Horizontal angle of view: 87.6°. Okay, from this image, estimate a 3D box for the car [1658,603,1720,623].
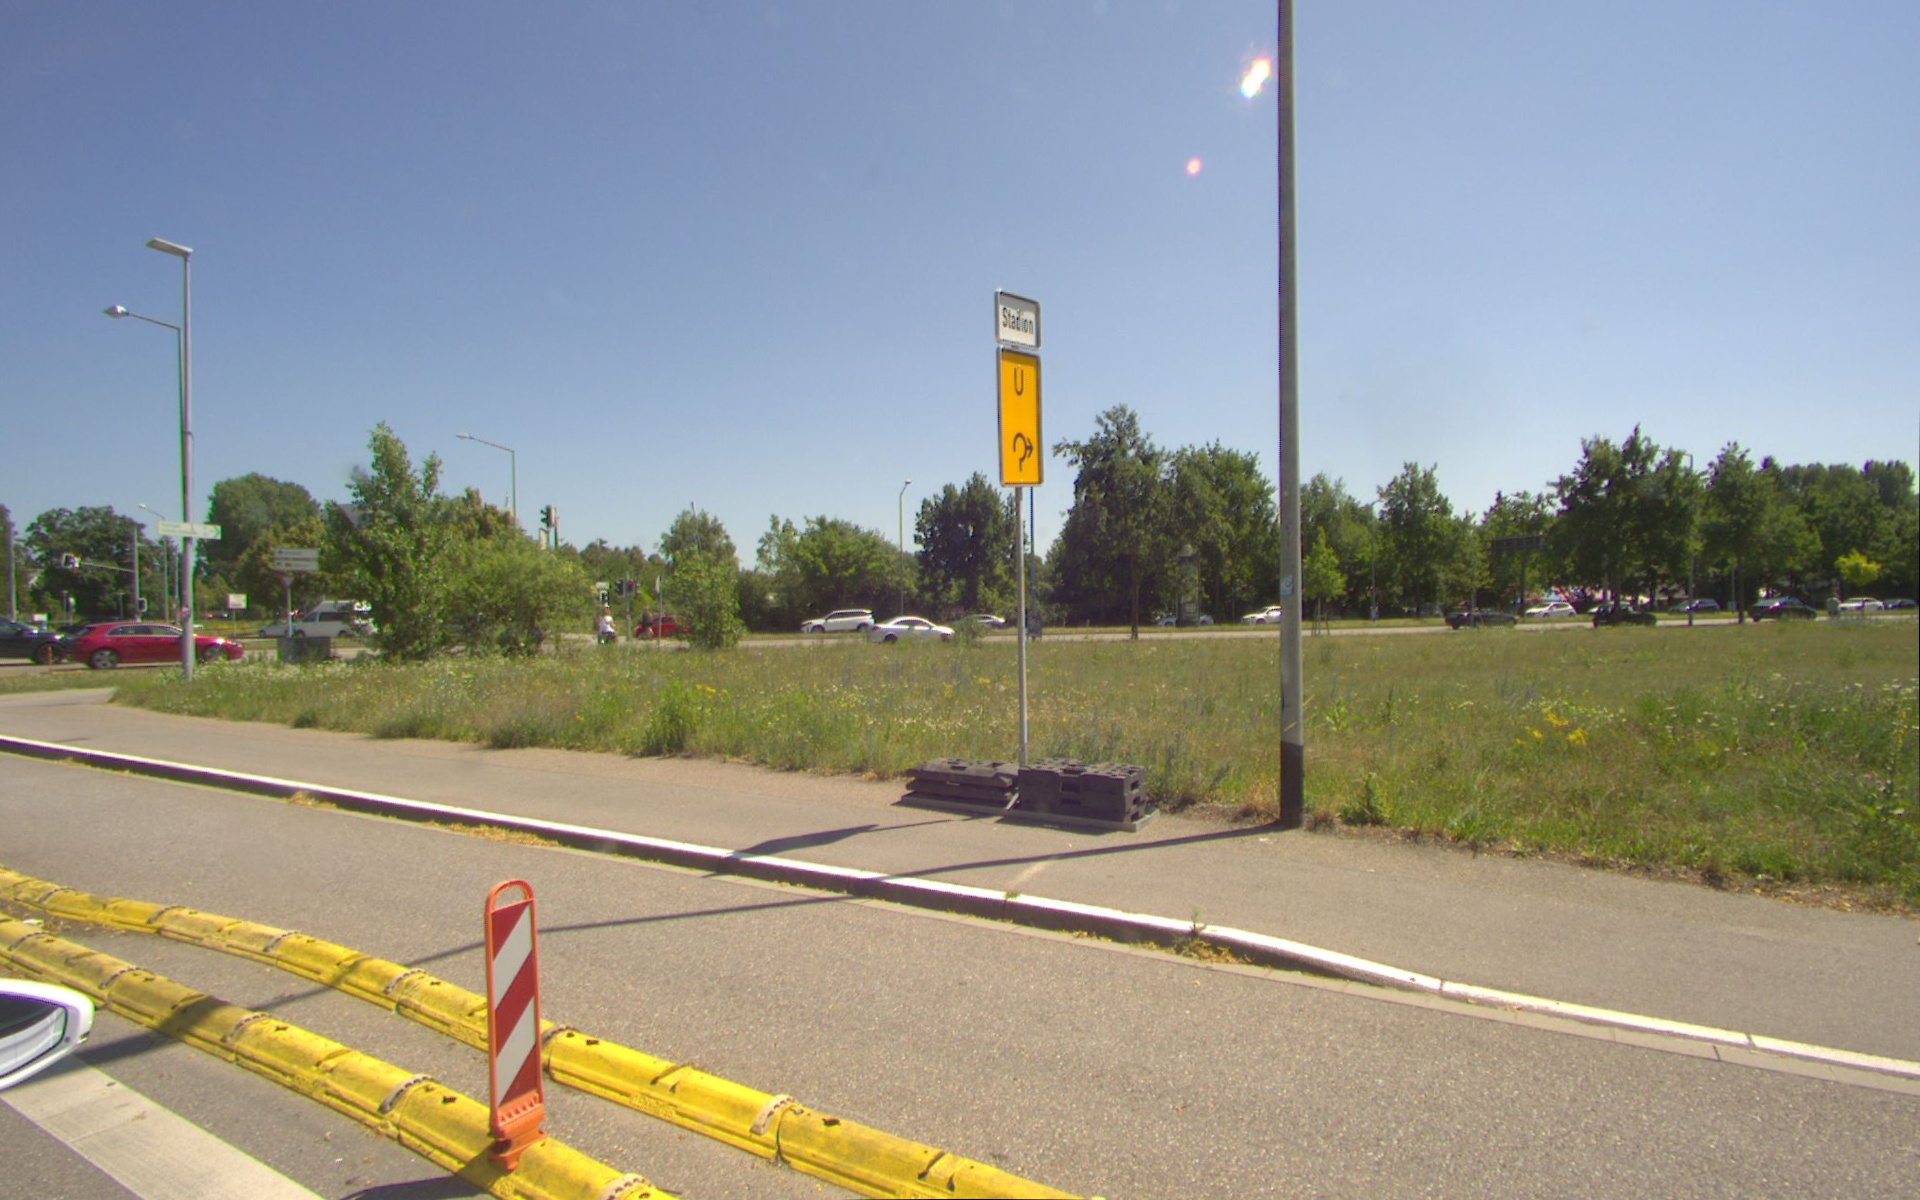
[{"bbox_3d":[59.990,1.080,82.454,4.365,1.612,1.846,0,-2,-16],"label":"car"}]

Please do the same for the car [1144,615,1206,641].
[{"bbox_3d":[15.434,2.049,71.940,4.074,1.840,1.662,0,-2,-15],"label":"car"}]

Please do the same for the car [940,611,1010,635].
[{"bbox_3d":[1.023,1.563,67.389,4.365,1.612,1.846,0,-2,-16],"label":"car"}]

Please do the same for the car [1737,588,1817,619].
[{"bbox_3d":[54.145,0.275,66.393,4.564,1.961,1.996,1,-2,-19],"label":"car"}]

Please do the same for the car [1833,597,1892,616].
[{"bbox_3d":[78.749,0.606,87.385,4.365,1.612,1.846,0,-2,-16],"label":"car"}]

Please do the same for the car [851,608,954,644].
[{"bbox_3d":[-2.655,1.177,46.102,4.344,1.547,1.995,0,0,-20],"label":"car"}]

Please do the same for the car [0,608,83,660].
[{"bbox_3d":[-31.207,1.098,32.121,1.977,1.616,4.384,-1,0,40],"label":"car"}]

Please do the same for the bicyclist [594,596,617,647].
[{"bbox_3d":[-13.156,0.800,37.170,0.597,1.864,0.572,0,-1,2],"label":"bicyclist"}]

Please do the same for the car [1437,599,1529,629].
[{"bbox_3d":[31.803,0.857,60.858,5.241,1.758,1.995,1,-2,-21],"label":"car"}]

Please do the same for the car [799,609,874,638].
[{"bbox_3d":[-7.685,1.483,62.150,4.365,1.758,1.846,0,-2,-16],"label":"car"}]

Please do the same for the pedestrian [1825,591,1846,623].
[{"bbox_3d":[44.748,0.387,51.168,0.548,1.611,0.662,1,-1,-32],"label":"pedestrian"}]

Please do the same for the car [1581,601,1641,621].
[{"bbox_3d":[54.679,0.924,84.165,4.365,1.613,1.845,0,0,-16],"label":"car"}]

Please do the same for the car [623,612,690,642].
[{"bbox_3d":[-19.027,1.722,62.912,3.864,1.840,1.663,0,-2,-9],"label":"car"}]

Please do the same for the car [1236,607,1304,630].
[{"bbox_3d":[22.049,1.352,71.193,4.365,1.612,1.846,0,-2,-16],"label":"car"}]

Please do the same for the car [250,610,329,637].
[{"bbox_3d":[-50.150,1.768,74.909,5.232,1.986,1.992,-1,-2,17],"label":"car"}]

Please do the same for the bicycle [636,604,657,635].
[{"bbox_3d":[-16.756,1.048,53.565,0.967,1.617,2.879,0,-2,-16],"label":"bicycle"}]

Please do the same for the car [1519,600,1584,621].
[{"bbox_3d":[46.168,0.821,78.150,4.365,1.612,1.846,0,-2,-16],"label":"car"}]

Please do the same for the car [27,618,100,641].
[{"bbox_3d":[-65.187,2.146,72.819,4.250,1.634,1.881,-1,-2,13],"label":"car"}]

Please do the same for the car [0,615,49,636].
[{"bbox_3d":[-64.253,1.741,67.282,4.247,1.389,1.753,0,-2,-4],"label":"car"}]

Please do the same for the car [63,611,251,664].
[{"bbox_3d":[-25.476,1.191,31.890,1.977,1.546,4.386,-2,-2,40],"label":"car"}]

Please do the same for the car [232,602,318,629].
[{"bbox_3d":[-50.672,1.162,74.117,5.225,1.987,1.995,0,-2,7],"label":"car"}]

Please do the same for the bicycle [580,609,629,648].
[{"bbox_3d":[-13.157,1.062,37.172,0.628,1.370,2.896,0,-2,4],"label":"bicycle"}]

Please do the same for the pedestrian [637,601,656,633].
[{"bbox_3d":[-16.712,0.913,53.427,0.954,1.681,0.885,0,-1,-16],"label":"pedestrian"}]

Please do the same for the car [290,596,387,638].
[{"bbox_3d":[-37.879,1.071,61.029,5.231,2.427,1.992,-1,-2,16],"label":"car"}]
